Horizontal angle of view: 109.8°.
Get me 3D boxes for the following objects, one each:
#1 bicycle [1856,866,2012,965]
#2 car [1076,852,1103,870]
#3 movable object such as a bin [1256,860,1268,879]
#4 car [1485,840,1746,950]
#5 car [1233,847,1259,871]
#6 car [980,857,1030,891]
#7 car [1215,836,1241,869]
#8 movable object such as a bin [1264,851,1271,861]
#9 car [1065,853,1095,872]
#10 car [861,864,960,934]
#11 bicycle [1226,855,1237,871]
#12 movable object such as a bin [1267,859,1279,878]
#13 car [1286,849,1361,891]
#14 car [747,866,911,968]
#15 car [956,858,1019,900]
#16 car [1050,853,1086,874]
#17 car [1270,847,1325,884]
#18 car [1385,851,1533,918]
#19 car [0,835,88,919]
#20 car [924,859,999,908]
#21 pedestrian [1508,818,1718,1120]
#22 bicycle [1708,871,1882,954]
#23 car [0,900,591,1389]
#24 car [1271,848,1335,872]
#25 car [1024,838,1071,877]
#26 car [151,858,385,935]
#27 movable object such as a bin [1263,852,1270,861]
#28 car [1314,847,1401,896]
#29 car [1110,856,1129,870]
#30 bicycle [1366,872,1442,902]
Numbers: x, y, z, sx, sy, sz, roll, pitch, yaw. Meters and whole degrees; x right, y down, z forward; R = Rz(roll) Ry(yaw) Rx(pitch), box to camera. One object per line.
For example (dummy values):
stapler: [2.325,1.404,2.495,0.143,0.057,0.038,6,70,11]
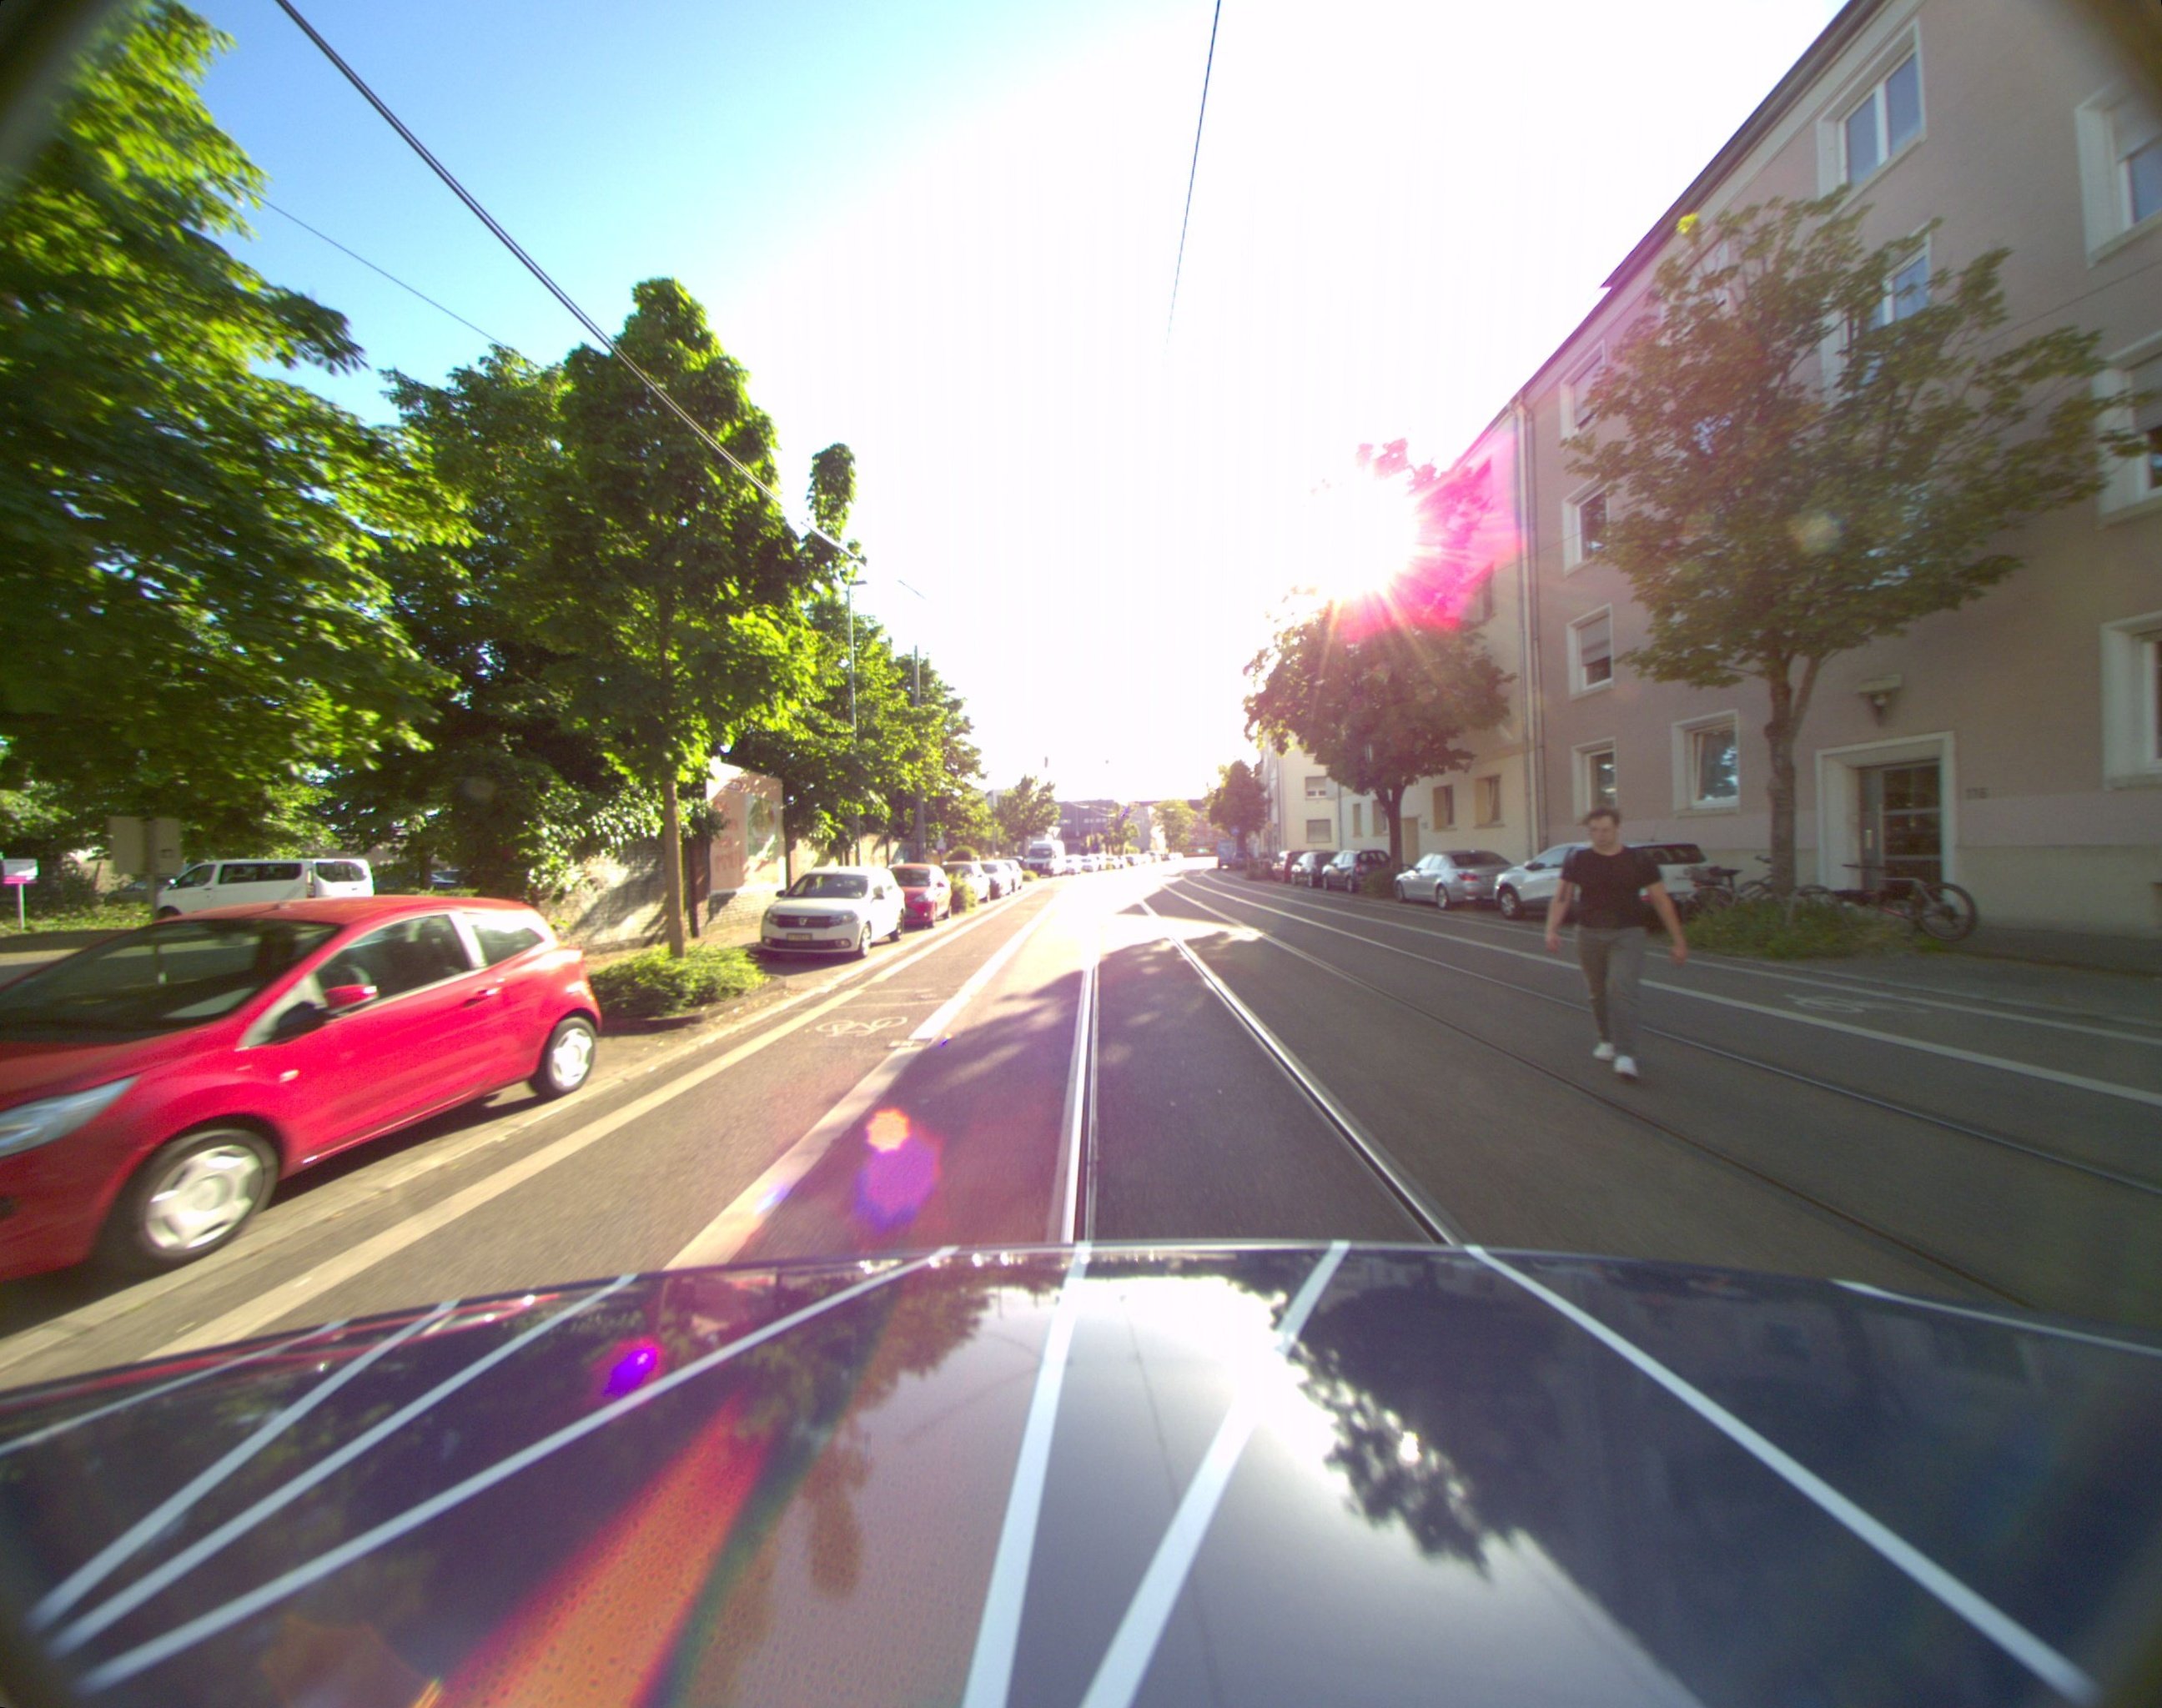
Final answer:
bicycle: [10.598,0.723,9.505,0.329,1.095,1.440,-3,0,1]
car: [0.866,0.604,71.729,1.730,1.595,4.346,0,1,11]
movable object such as a bin: [9.886,0.839,41.532,0.486,0.982,0.660,-3,1,4]
car: [9.623,0.648,14.193,1.656,1.658,4.295,-3,0,-3]
car: [13.437,0.359,62.044,1.794,1.551,4.645,-11,-1,11]
car: [-3.595,0.913,36.686,1.692,1.521,4.001,-1,0,5]
car: [13.628,-0.171,70.136,2.020,2.809,6.037,-3,0,13]
movable object such as a bin: [18.708,0.181,76.055,0.597,0.929,0.569,-2,1,9]
car: [-0.053,0.738,66.711,1.730,1.503,4.255,0,1,12]
car: [-4.252,1.063,19.559,1.693,1.521,3.999,-1,0,-1]
bicycle: [11.303,0.672,57.060,0.513,1.127,2.032,-3,0,5]
movable object such as a bin: [10.494,0.791,41.459,0.486,0.982,0.660,-3,1,4]
car: [10.134,0.629,32.021,1.791,1.521,3.857,-4,0,-1]
car: [-4.470,1.036,14.126,1.693,1.521,3.999,-1,0,0]
car: [-3.738,0.984,31.160,1.692,1.521,4.356,-1,0,5]
car: [-1.001,0.722,61.245,1.913,1.521,4.604,-1,1,11]
car: [10.222,0.498,36.147,1.692,1.521,4.001,-6,0,5]
car: [9.668,0.695,19.911,1.692,1.466,4.660,-3,0,3]
car: [-30.959,0.669,20.960,4.198,2.228,2.143,-2,0,-1]
car: [-4.127,0.975,26.913,1.692,1.521,4.001,-1,0,5]
pedestrian: [3.419,0.670,4.923,0.853,1.766,0.734,-1,0,-18]
bicycle: [10.108,0.824,10.790,1.929,1.040,0.476,-3,1,3]
car: [-4.572,1.115,4.070,1.639,1.499,3.397,0,0,1]
car: [15.039,0.391,51.611,3.894,1.449,1.769,-3,0,8]
car: [-2.366,0.202,55.743,2.184,2.650,6.095,0,1,10]
car: [-22.770,1.150,21.406,4.476,1.814,2.045,-3,0,4]
movable object such as a bin: [18.975,0.231,77.843,0.597,0.929,0.569,-2,1,9]
car: [10.053,0.608,27.915,1.595,1.604,3.730,-3,0,-3]
car: [4.556,1.053,89.636,1.731,1.455,4.343,-3,0,8]
bicycle: [10.080,1.030,23.718,2.132,0.820,0.477,-3,1,1]
